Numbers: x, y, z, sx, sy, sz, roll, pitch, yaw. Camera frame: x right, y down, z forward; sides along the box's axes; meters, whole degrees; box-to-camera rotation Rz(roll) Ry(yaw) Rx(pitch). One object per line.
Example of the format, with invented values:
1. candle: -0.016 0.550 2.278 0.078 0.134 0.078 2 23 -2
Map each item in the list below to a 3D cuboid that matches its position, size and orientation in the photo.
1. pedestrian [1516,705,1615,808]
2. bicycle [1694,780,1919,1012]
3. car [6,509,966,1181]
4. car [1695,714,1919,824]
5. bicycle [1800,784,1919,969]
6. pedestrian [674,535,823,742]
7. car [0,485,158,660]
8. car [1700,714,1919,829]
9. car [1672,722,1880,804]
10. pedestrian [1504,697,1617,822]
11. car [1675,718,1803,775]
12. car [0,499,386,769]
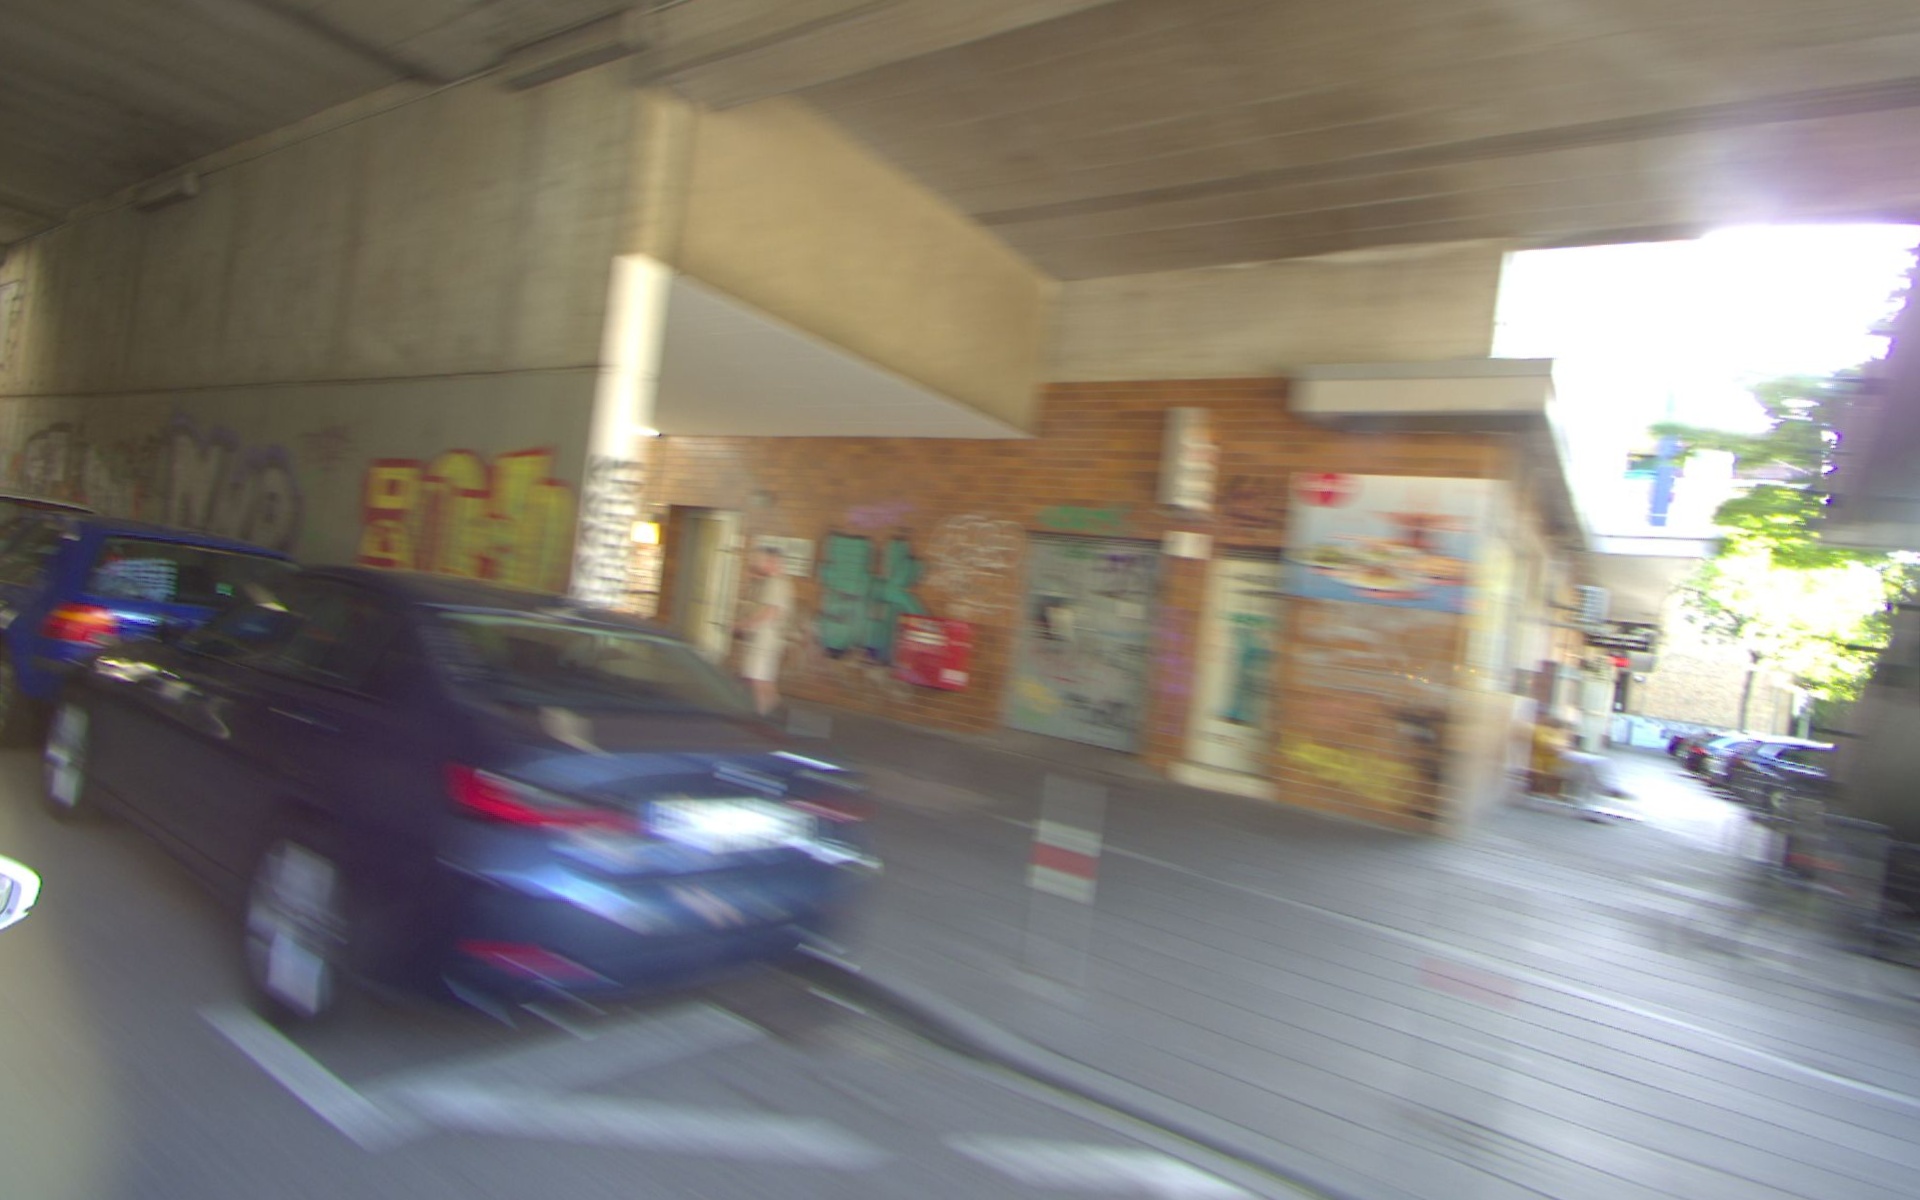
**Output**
1. pedestrian: 8.066 2.058 13.432 0.974 1.174 0.794 7 -1 31
2. bicycle: 5.215 1.683 5.511 1.770 1.013 0.484 8 1 27
3. car: -2.412 0.572 4.504 4.537 1.448 1.853 6 -3 37
4. car: 18.223 3.545 21.349 3.934 1.626 1.839 7 -1 32
5. bicycle: 6.449 1.851 6.209 1.770 1.013 0.415 9 2 28
6. pedestrian: -1.925 0.359 9.206 0.745 1.720 0.795 10 1 34
7. car: -9.887 -0.408 10.100 3.577 1.505 1.606 7 -1 31
8. car: 16.809 3.282 19.289 3.934 1.569 1.767 7 -1 32
9. car: 21.315 4.231 26.502 3.934 1.362 1.685 7 -1 32
10. pedestrian: 7.009 1.837 11.771 0.974 1.251 0.794 7 -1 31
11. car: 32.525 6.073 42.148 3.934 1.649 1.685 7 -1 32
12. car: -6.138 0.098 7.285 3.998 1.427 1.763 7 -1 34
